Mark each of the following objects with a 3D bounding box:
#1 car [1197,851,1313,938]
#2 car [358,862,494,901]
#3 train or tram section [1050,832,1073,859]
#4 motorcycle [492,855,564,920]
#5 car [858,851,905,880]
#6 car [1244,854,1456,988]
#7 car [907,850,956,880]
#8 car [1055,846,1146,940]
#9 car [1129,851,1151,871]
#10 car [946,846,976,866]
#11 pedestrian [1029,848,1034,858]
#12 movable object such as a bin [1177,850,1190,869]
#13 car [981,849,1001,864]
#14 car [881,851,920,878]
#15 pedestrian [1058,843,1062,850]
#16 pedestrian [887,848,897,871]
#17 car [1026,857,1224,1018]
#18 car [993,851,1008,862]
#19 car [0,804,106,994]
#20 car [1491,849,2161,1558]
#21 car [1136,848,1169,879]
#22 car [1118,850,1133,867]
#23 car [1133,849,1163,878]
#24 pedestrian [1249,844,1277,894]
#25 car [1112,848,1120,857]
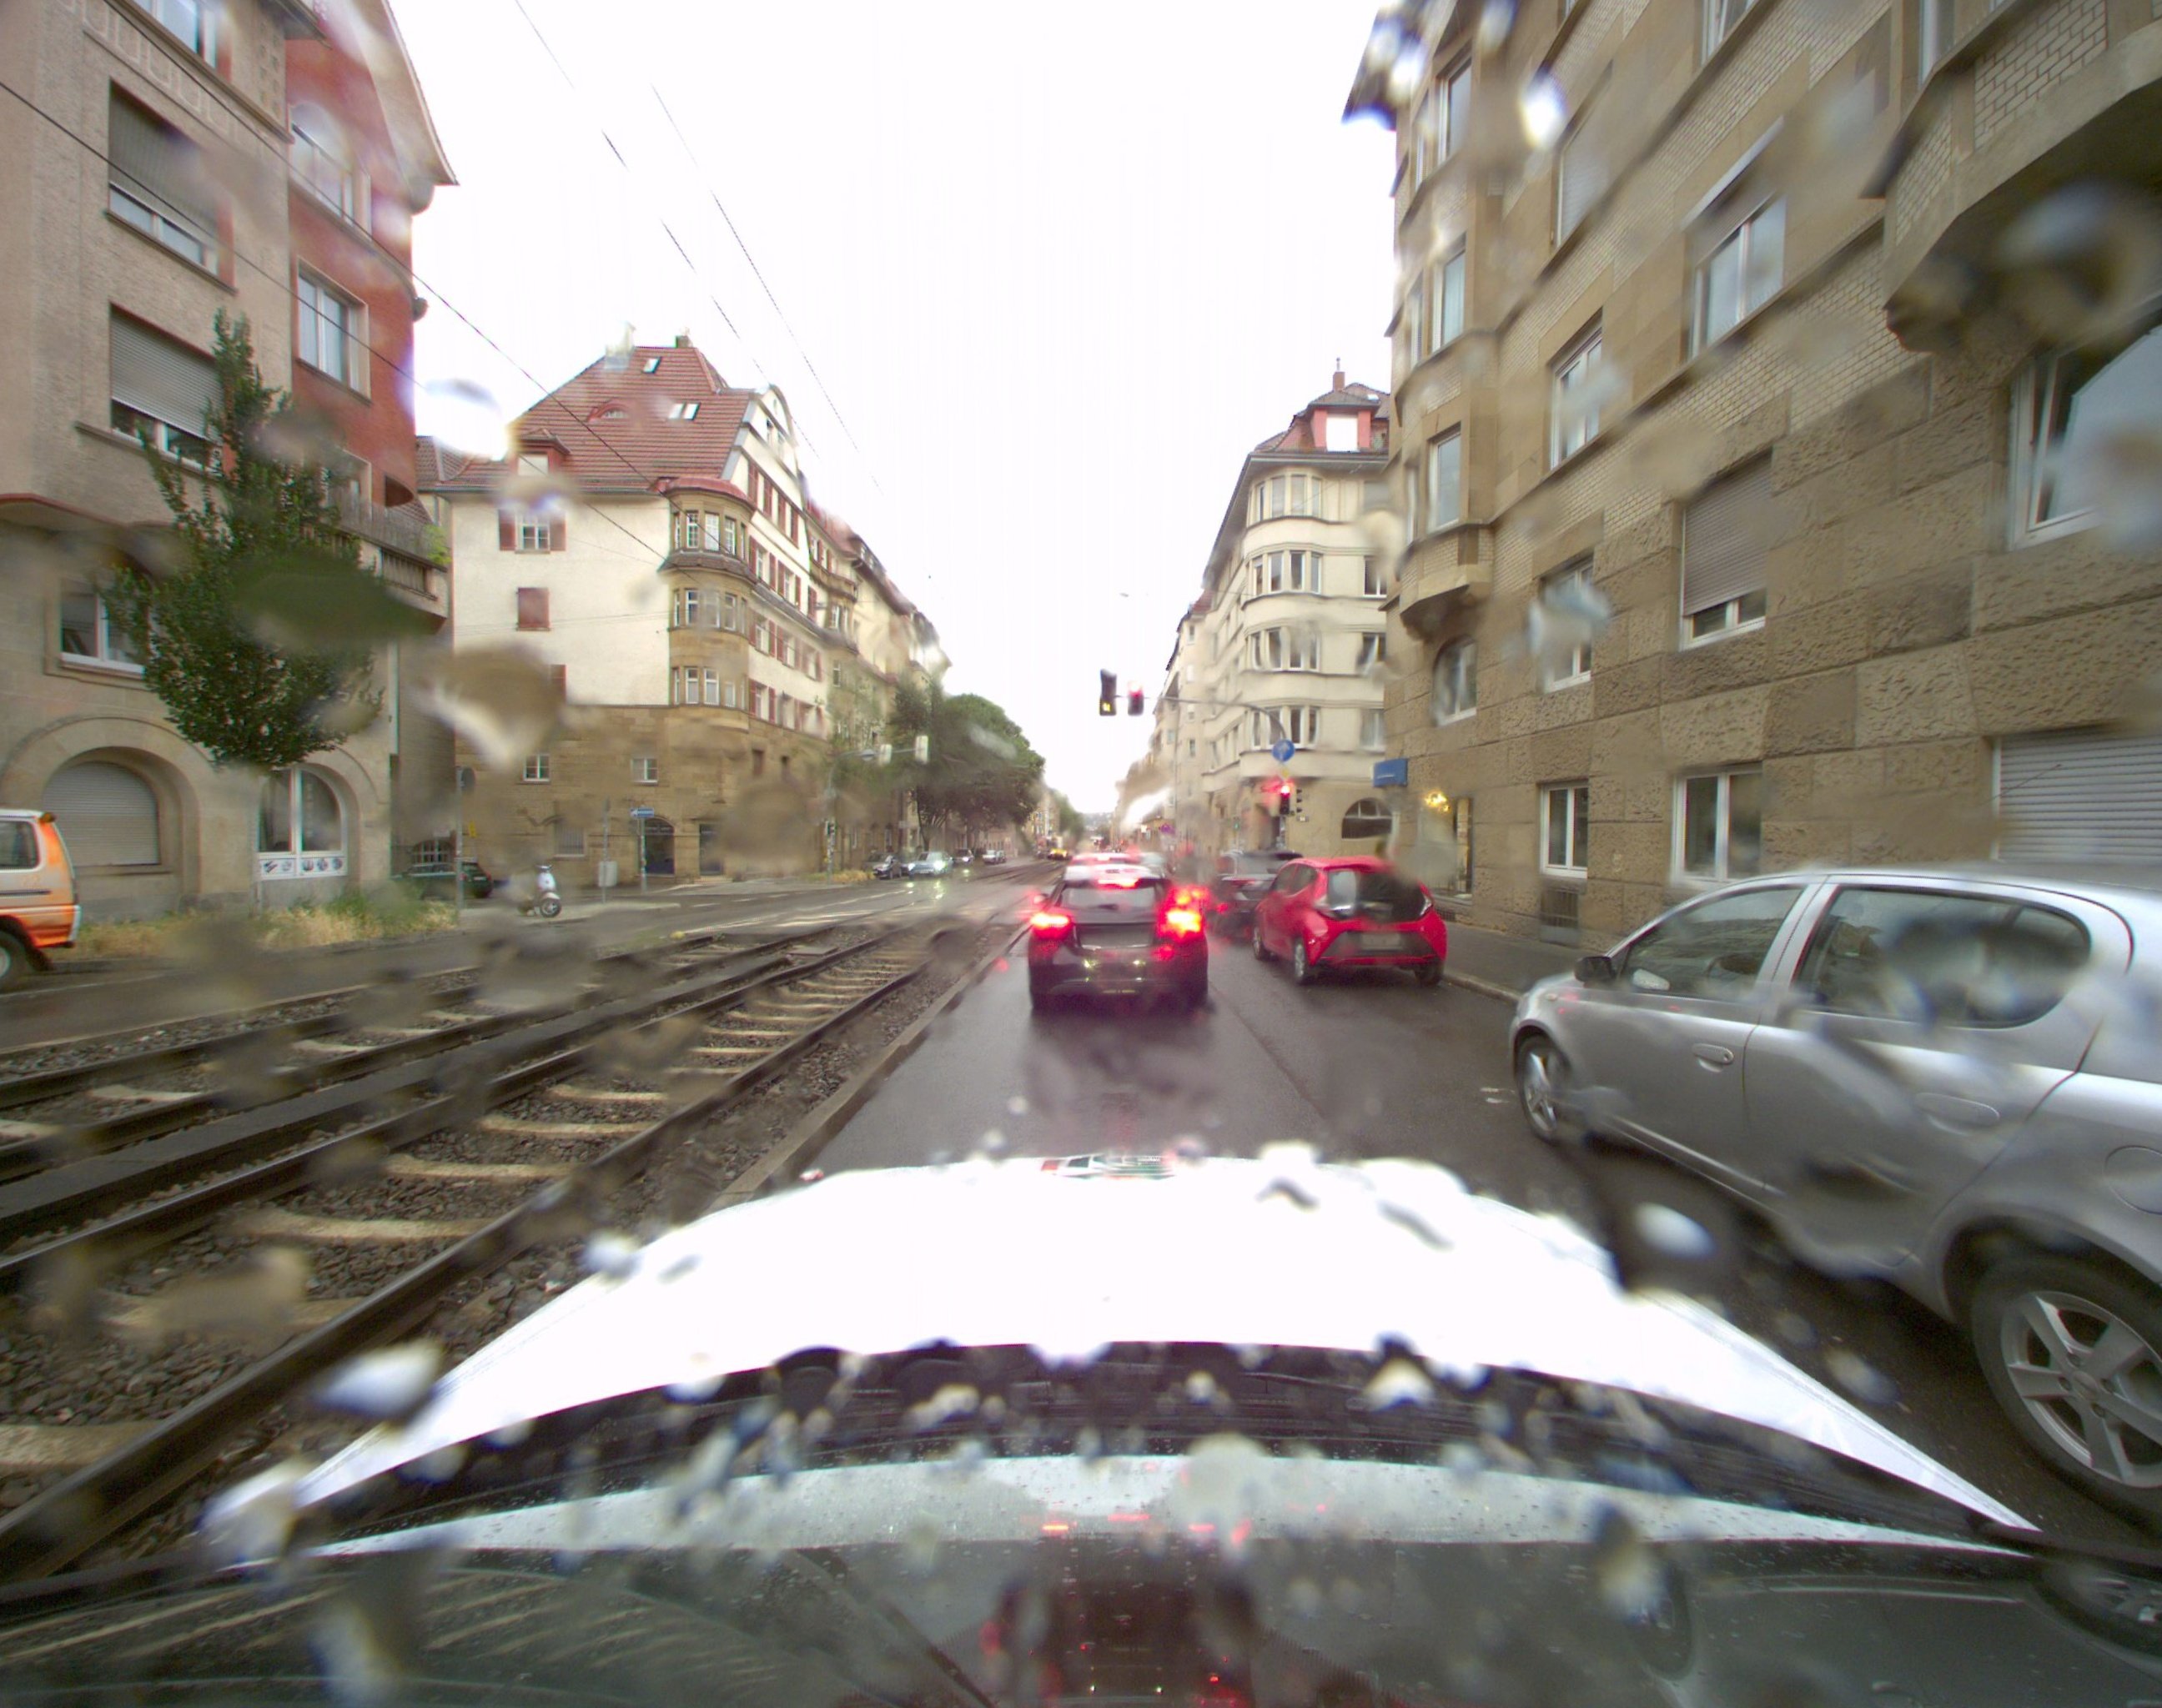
[{"bbox_3d":[3.245,0.687,15.809,1.539,1.486,3.831,0,0,2],"label":"car"},{"bbox_3d":[-24.382,1.009,30.408,3.633,1.404,1.699,0,-1,-3],"label":"car"},{"bbox_3d":[-2.844,-1.209,122.452,2.772,3.861,10.433,0,-1,2],"label":"train or tram section"},{"bbox_3d":[-12.065,0.709,17.766,1.577,1.365,0.628,-1,-1,28],"label":"motorcycle"},{"bbox_3d":[-11.253,0.639,46.116,1.747,1.552,4.033,0,-1,-2],"label":"car"},{"bbox_3d":[3.279,0.732,10.565,1.637,1.448,3.298,0,0,-1],"label":"car"},{"bbox_3d":[-8.268,0.580,45.430,1.891,1.588,3.974,0,-1,2],"label":"car"},{"bbox_3d":[0.394,0.698,15.958,1.559,1.609,3.815,0,-1,2],"label":"car"},{"bbox_3d":[4.417,0.528,61.582,1.539,1.486,3.549,0,0,2],"label":"car"},{"bbox_3d":[-10.594,0.214,72.139,1.868,1.737,3.920,0,-1,2],"label":"car"},{"bbox_3d":[-10.590,-0.213,174.209,1.049,1.957,1.043,1,0,3],"label":"pedestrian"},{"bbox_3d":[7.476,0.422,59.555,0.873,1.389,0.984,-1,-1,5],"label":"movable object such as a bin"},{"bbox_3d":[-9.864,0.308,89.597,1.583,1.581,3.920,0,-1,2],"label":"car"},{"bbox_3d":[-11.284,0.645,51.151,1.713,1.611,3.914,0,-1,-3],"label":"car"},{"bbox_3d":[-5.734,-2.092,223.252,1.049,1.957,1.043,1,0,3],"label":"pedestrian"},{"bbox_3d":[-14.029,0.400,60.530,0.630,1.672,0.701,0,-1,-6],"label":"pedestrian"},{"bbox_3d":[0.468,0.779,9.563,1.822,1.458,4.105,0,0,2],"label":"car"},{"bbox_3d":[-9.794,0.295,99.012,1.443,1.331,3.271,0,-1,0],"label":"car"},{"bbox_3d":[-12.121,0.466,7.209,1.725,1.975,4.341,0,-1,0],"label":"car"},{"bbox_3d":[3.148,0.739,3.099,1.608,1.467,3.314,-2,0,3],"label":"car"},{"bbox_3d":[3.703,0.481,42.701,1.539,1.590,3.549,0,0,2],"label":"car"},{"bbox_3d":[4.028,0.403,73.673,1.289,1.442,2.930,0,0,2],"label":"car"},{"bbox_3d":[3.844,0.524,47.175,1.539,1.590,3.549,0,0,2],"label":"car"},{"bbox_3d":[6.493,0.515,29.102,0.739,1.748,1.111,0,-1,2],"label":"pedestrian"},{"bbox_3d":[6.439,-0.309,150.234,1.539,1.636,3.687,0,0,1],"label":"car"}]
